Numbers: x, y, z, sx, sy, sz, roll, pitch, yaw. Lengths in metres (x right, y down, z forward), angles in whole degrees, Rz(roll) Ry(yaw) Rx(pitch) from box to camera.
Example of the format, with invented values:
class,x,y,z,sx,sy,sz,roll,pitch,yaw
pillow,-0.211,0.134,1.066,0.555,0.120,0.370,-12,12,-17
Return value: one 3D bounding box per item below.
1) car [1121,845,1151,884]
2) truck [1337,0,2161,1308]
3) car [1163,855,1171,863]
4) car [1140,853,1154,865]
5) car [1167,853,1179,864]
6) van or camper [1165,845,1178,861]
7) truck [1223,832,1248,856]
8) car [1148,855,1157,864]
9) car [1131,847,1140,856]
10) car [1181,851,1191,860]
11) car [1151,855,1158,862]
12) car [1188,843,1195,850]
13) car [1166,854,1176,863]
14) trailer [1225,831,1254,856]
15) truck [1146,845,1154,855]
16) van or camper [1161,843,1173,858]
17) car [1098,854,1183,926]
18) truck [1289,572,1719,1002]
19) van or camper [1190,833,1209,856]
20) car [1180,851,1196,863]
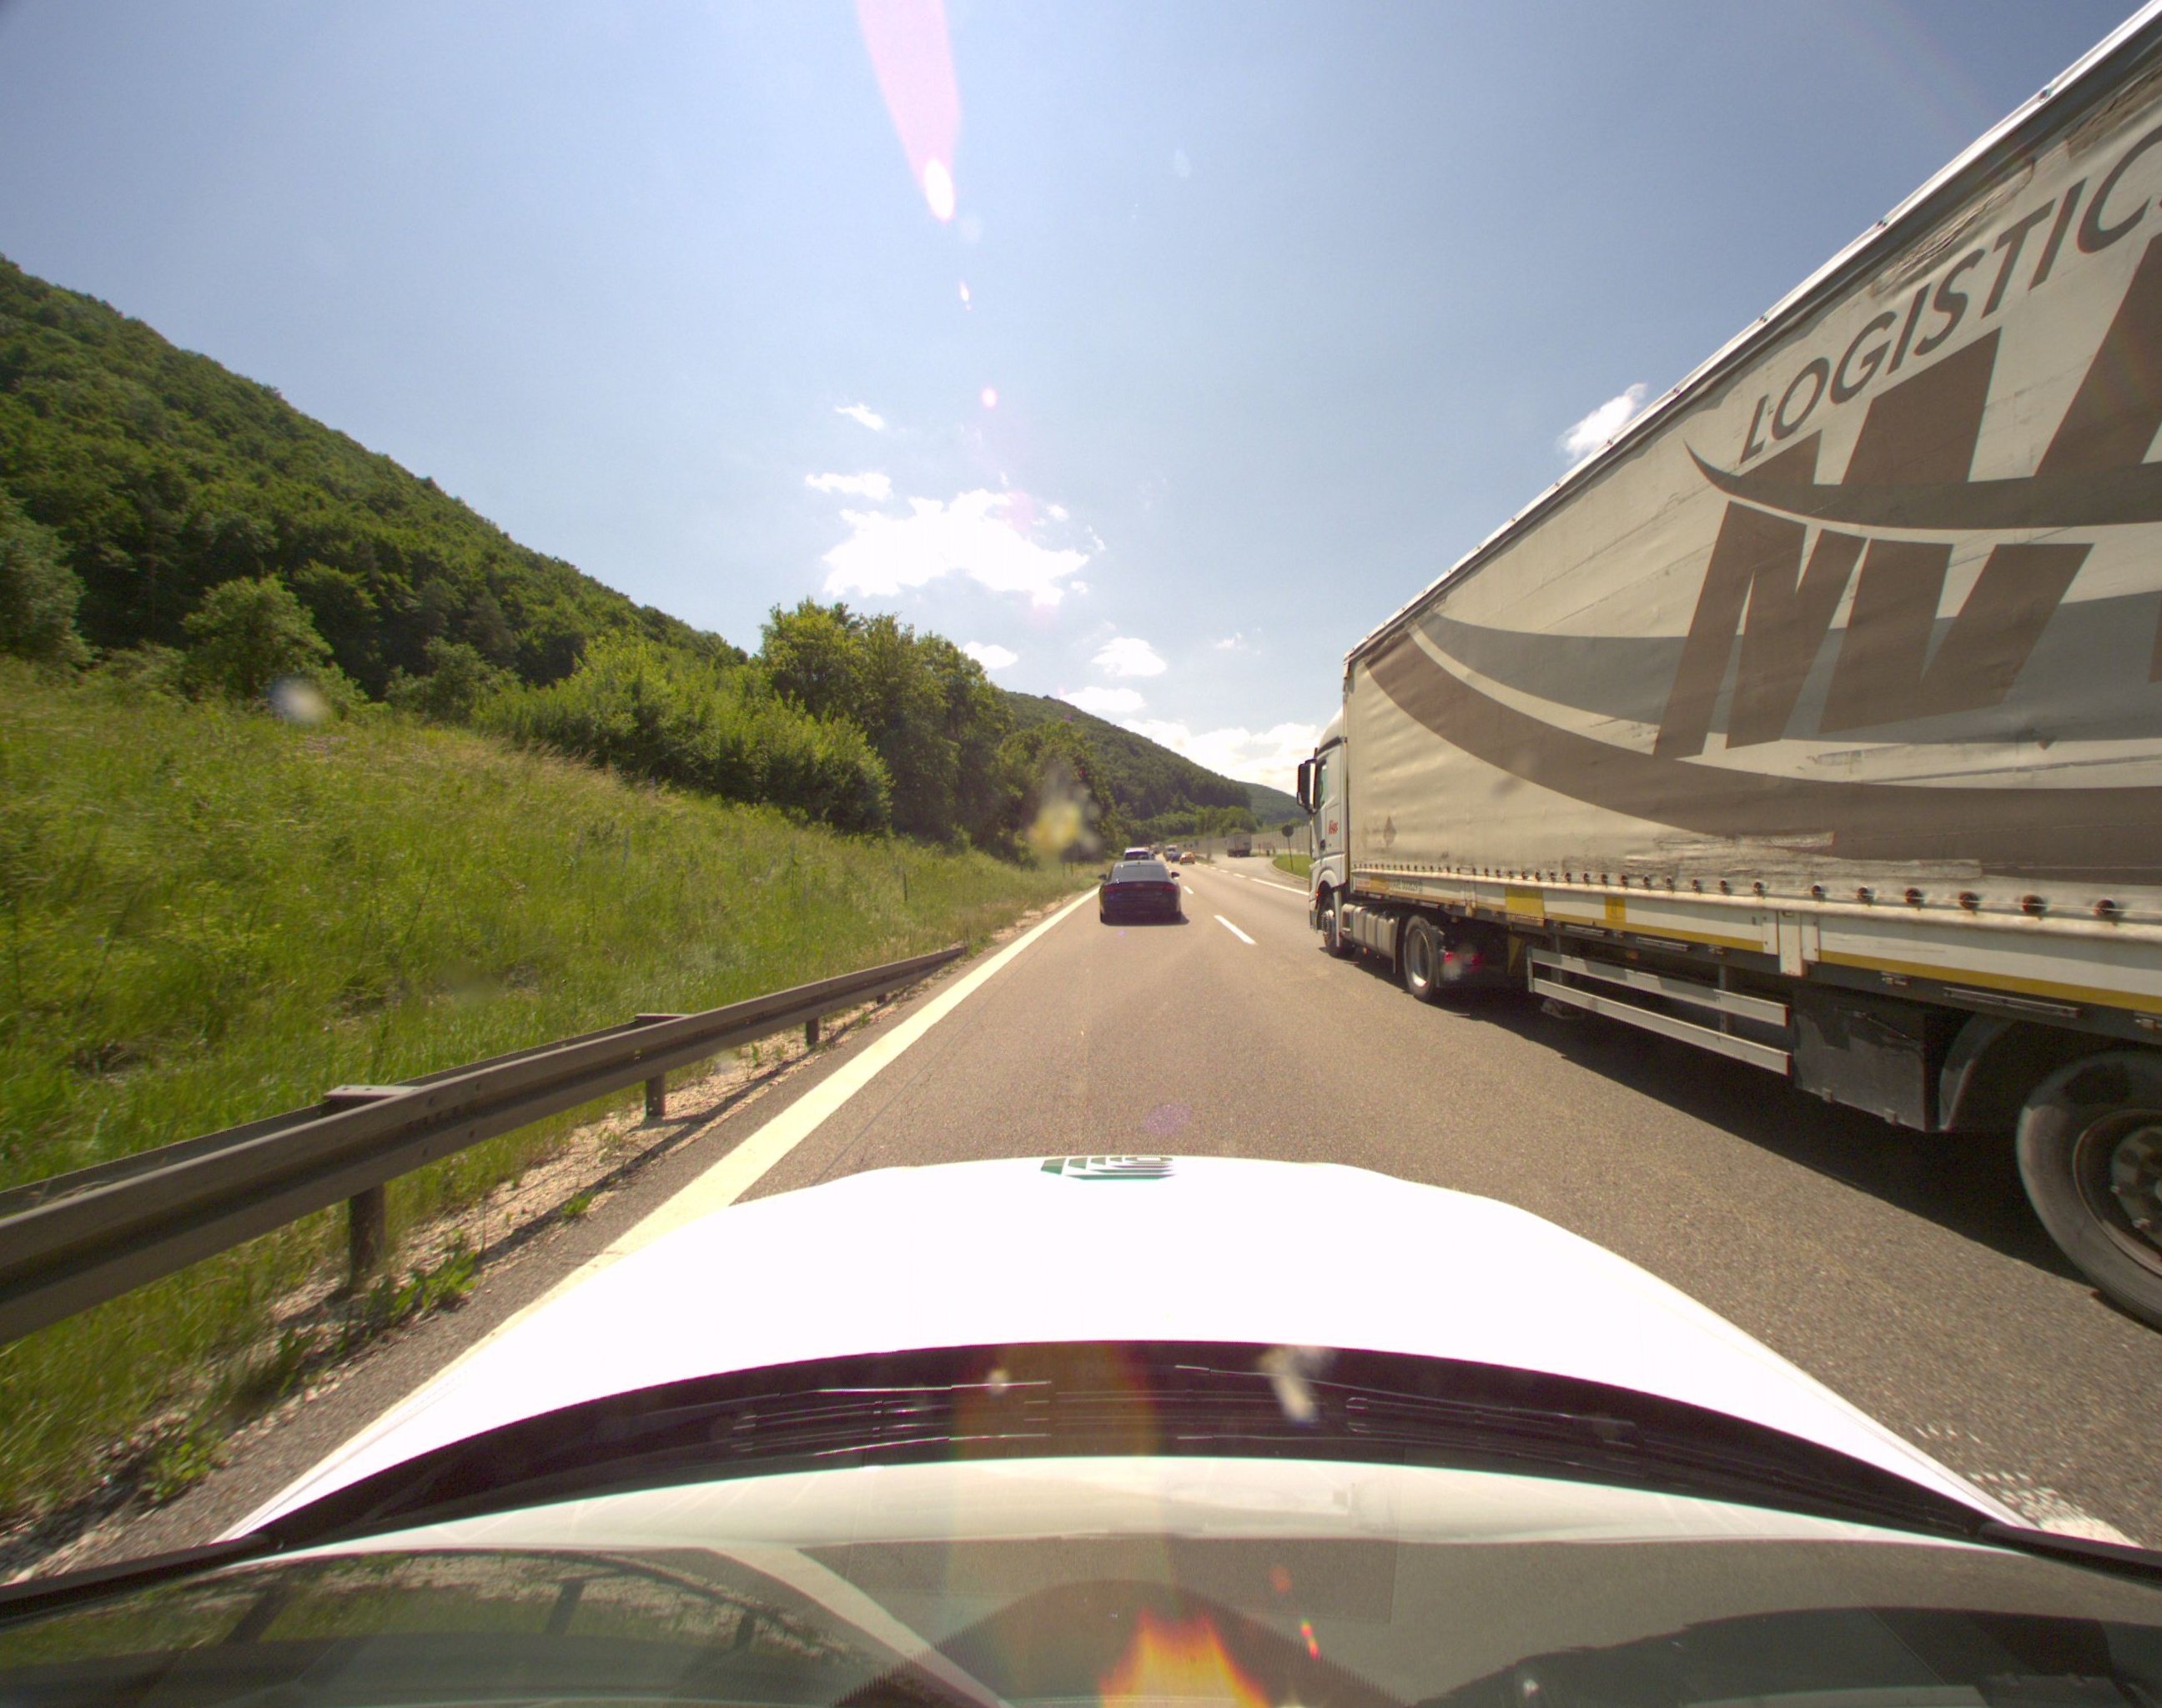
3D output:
class,x,y,z,sx,sy,sz,roll,pitch,yaw
car,2.913,0.523,43.012,1.514,1.968,3.518,0,0,4
truck,4.541,-0.711,3.815,2.716,4.068,13.746,-1,-1,2
car,20.528,1.220,194.538,1.984,2.014,4.005,0,-1,5
car,7.735,0.596,96.076,1.515,1.294,3.517,1,0,3
car,13.214,0.719,117.126,1.522,1.525,3.602,0,-1,5
van or camper,18.403,-0.213,165.649,2.417,3.155,5.211,0,-1,5
truck,26.239,-1.724,138.558,3.396,3.900,5.394,-2,0,5
car,12.415,0.935,140.842,1.513,1.553,3.521,0,0,7
car,8.976,-0.359,133.309,1.325,1.448,3.026,-2,0,7
car,24.237,0.409,188.368,1.984,2.013,4.005,-2,0,4
car,16.408,0.990,180.877,1.513,1.553,3.520,0,0,6
car,30.109,-2.066,222.372,1.568,2.013,3.433,-2,0,5
car,15.143,0.825,136.873,1.522,1.525,3.602,0,-1,5
trailer,25.814,-1.697,133.522,3.395,3.900,11.166,-2,0,5
truck,19.357,-1.124,228.964,2.053,2.605,5.625,0,0,7
van or camper,22.686,-0.935,214.356,2.783,3.907,6.172,0,-1,3
car,1.451,0.791,19.605,1.803,1.514,3.519,-2,0,5
truck,4.784,-0.610,10.694,2.709,4.068,5.756,-1,-1,2
van or camper,20.800,-1.587,143.371,2.783,3.841,6.172,0,-1,3
car,13.466,0.387,102.937,1.870,1.499,4.006,-2,0,5
